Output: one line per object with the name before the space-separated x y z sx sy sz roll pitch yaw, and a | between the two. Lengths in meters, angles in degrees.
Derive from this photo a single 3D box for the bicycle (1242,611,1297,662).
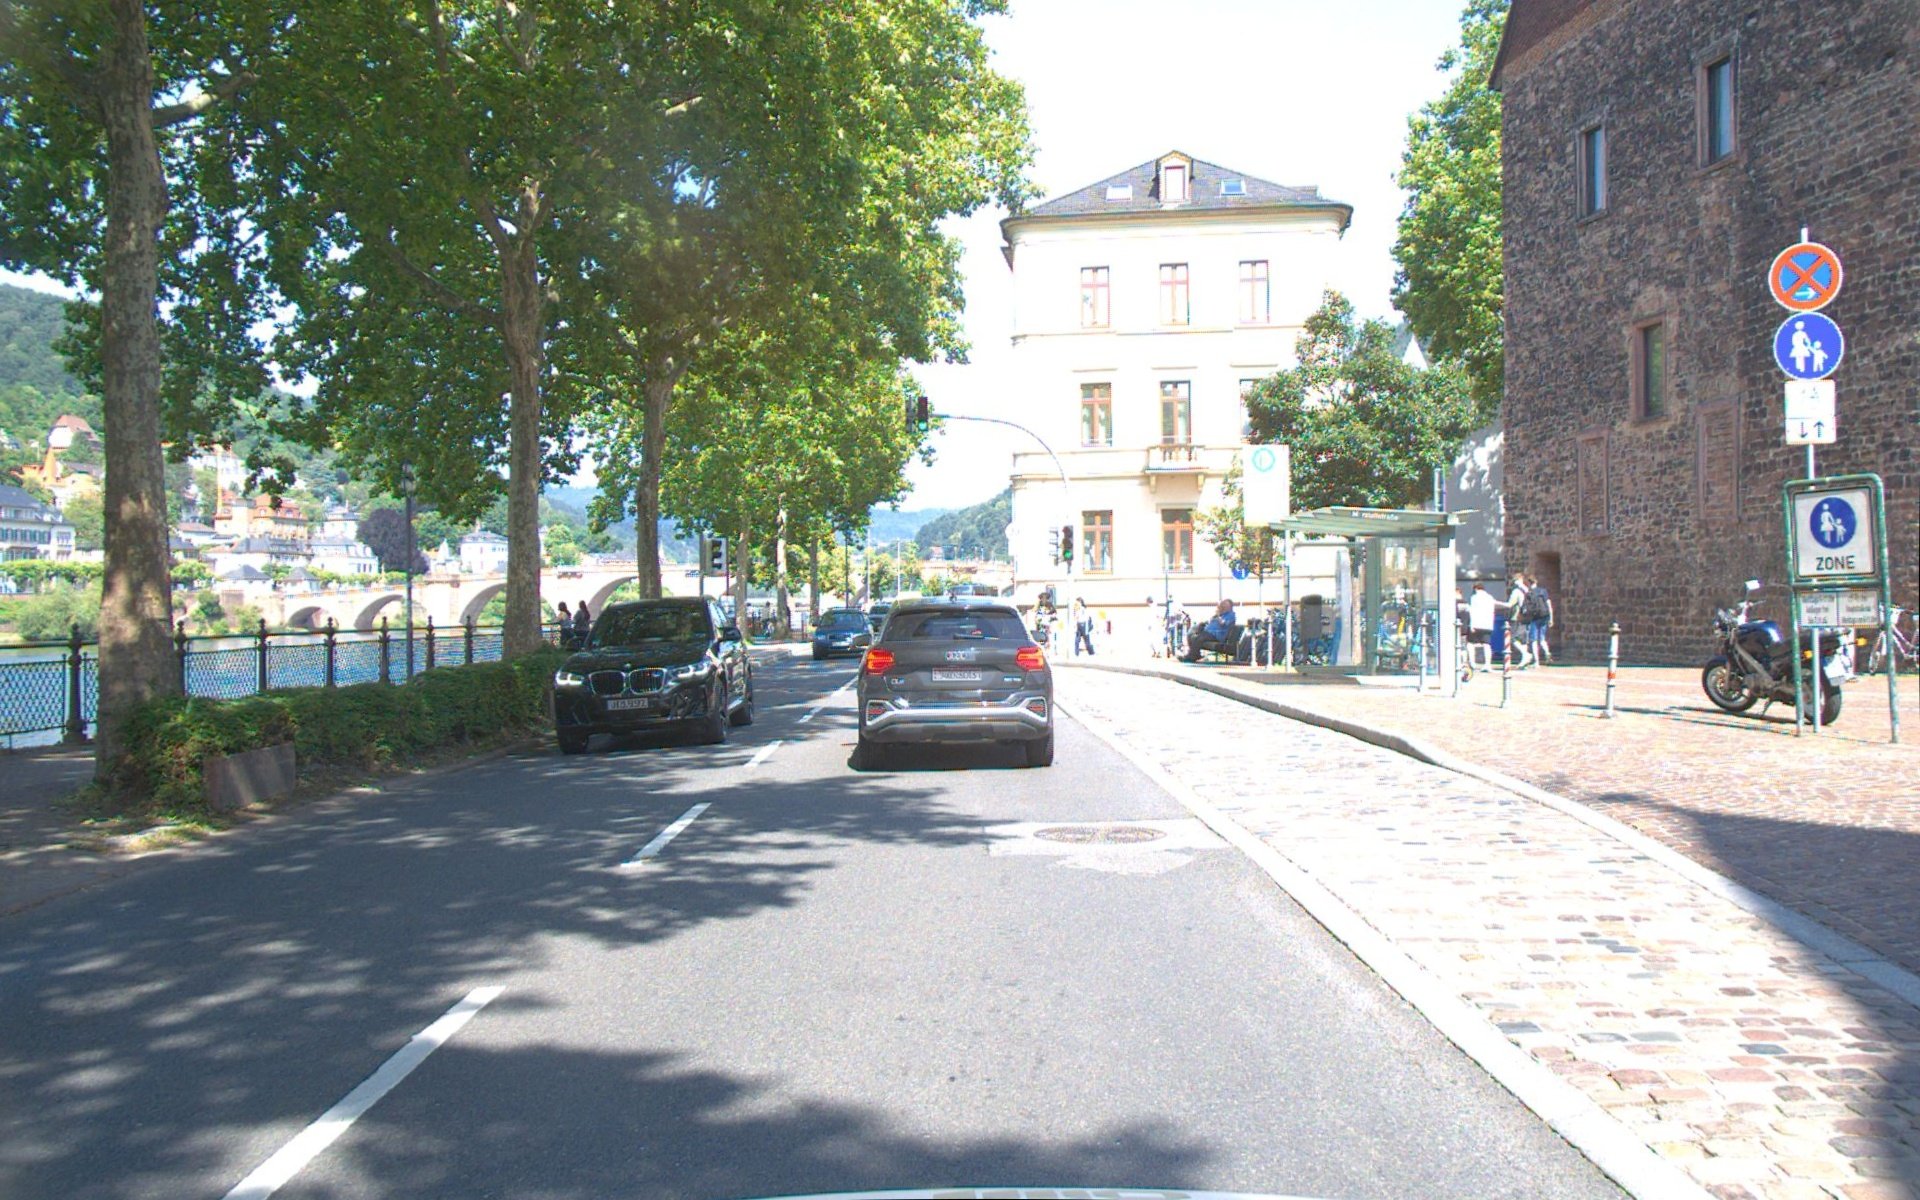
bicycle | 6.503 0.762 34.715 1.184 1.053 0.178 2 -1 -19

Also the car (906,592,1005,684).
car | -0.089 0.692 31.640 1.756 1.623 3.399 1 0 -1

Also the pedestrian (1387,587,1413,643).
pedestrian | 12.515 0.434 47.057 0.609 1.559 0.466 1 -1 3

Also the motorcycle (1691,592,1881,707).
motorcycle | 8.035 0.447 16.229 0.555 1.030 2.489 -1 0 -1

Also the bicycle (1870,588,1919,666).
bicycle | 15.338 0.434 26.463 0.381 1.230 1.715 1 -1 -8

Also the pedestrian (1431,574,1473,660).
pedestrian | 10.616 0.367 35.708 0.638 1.834 0.847 0 0 -1

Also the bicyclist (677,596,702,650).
bicyclist | -6.833 0.585 41.750 0.555 1.334 0.551 1 -1 -5

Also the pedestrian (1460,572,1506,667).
pedestrian | 10.766 0.392 34.055 0.655 1.917 0.821 1 -1 -2

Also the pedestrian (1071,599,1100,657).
pedestrian | 3.307 0.742 43.720 0.679 1.527 0.513 1 -1 -3

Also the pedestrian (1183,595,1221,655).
pedestrian | 5.124 0.532 35.061 0.651 1.253 0.640 1 -1 -7

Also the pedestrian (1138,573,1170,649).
pedestrian | 5.270 0.294 44.894 0.627 2.049 0.664 1 -1 29

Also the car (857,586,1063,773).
car | -0.014 0.665 15.806 1.707 1.535 3.647 -1 0 -1

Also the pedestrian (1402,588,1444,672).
pedestrian | 7.955 0.513 28.441 0.546 1.409 0.588 1 -1 2

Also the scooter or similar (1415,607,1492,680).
scooter or similar | 7.550 0.656 25.304 1.067 1.084 0.323 1 -1 -3

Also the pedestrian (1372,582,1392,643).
pedestrian | 11.997 0.357 47.067 0.440 1.710 0.466 1 -1 2

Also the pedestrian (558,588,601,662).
pedestrian | -9.632 0.642 41.891 0.891 1.843 0.586 1 -1 4

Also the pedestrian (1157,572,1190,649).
pedestrian | 5.691 0.279 44.076 0.627 2.049 0.664 1 -1 29

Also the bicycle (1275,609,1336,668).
bicycle | 6.949 0.773 33.285 1.284 1.147 0.178 2 -1 -19

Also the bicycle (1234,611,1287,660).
bicycle | 6.436 0.764 35.405 1.166 1.033 0.178 2 -1 -19

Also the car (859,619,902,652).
car | -4.148 1.852 86.463 1.952 1.654 4.000 1 -1 1

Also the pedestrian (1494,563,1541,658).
pedestrian | 11.736 0.224 34.840 0.655 1.954 0.821 1 -1 -2

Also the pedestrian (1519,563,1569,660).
pedestrian | 12.554 0.250 35.568 0.715 2.049 0.878 1 -1 -1

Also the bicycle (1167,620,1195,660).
bicycle | 5.553 0.997 41.554 0.293 0.980 1.184 2 -1 -13

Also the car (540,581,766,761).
car | -3.563 0.756 20.011 1.776 1.754 4.421 -6 0 0

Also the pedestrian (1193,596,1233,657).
pedestrian | 5.229 0.551 34.234 0.651 1.233 0.640 1 -1 -7

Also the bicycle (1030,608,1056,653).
bicycle | 2.083 0.755 41.588 0.428 1.105 1.675 1 -1 -5

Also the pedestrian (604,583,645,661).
pedestrian | -8.872 0.583 43.811 0.891 2.049 0.586 1 -1 4

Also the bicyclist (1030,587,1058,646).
bicyclist | 2.103 0.413 41.624 0.593 1.475 0.590 1 -1 -5

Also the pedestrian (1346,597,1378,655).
pedestrian | 14.582 0.935 60.061 0.925 2.049 0.807 1 -1 0

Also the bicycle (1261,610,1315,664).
bicycle | 6.750 0.763 33.983 1.140 1.089 0.178 2 -1 -19

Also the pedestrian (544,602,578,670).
pedestrian | -9.828 0.878 40.742 0.611 1.647 0.586 1 -1 4

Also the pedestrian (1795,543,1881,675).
pedestrian | 13.535 0.137 25.493 0.821 1.983 0.903 -1 0 -38
